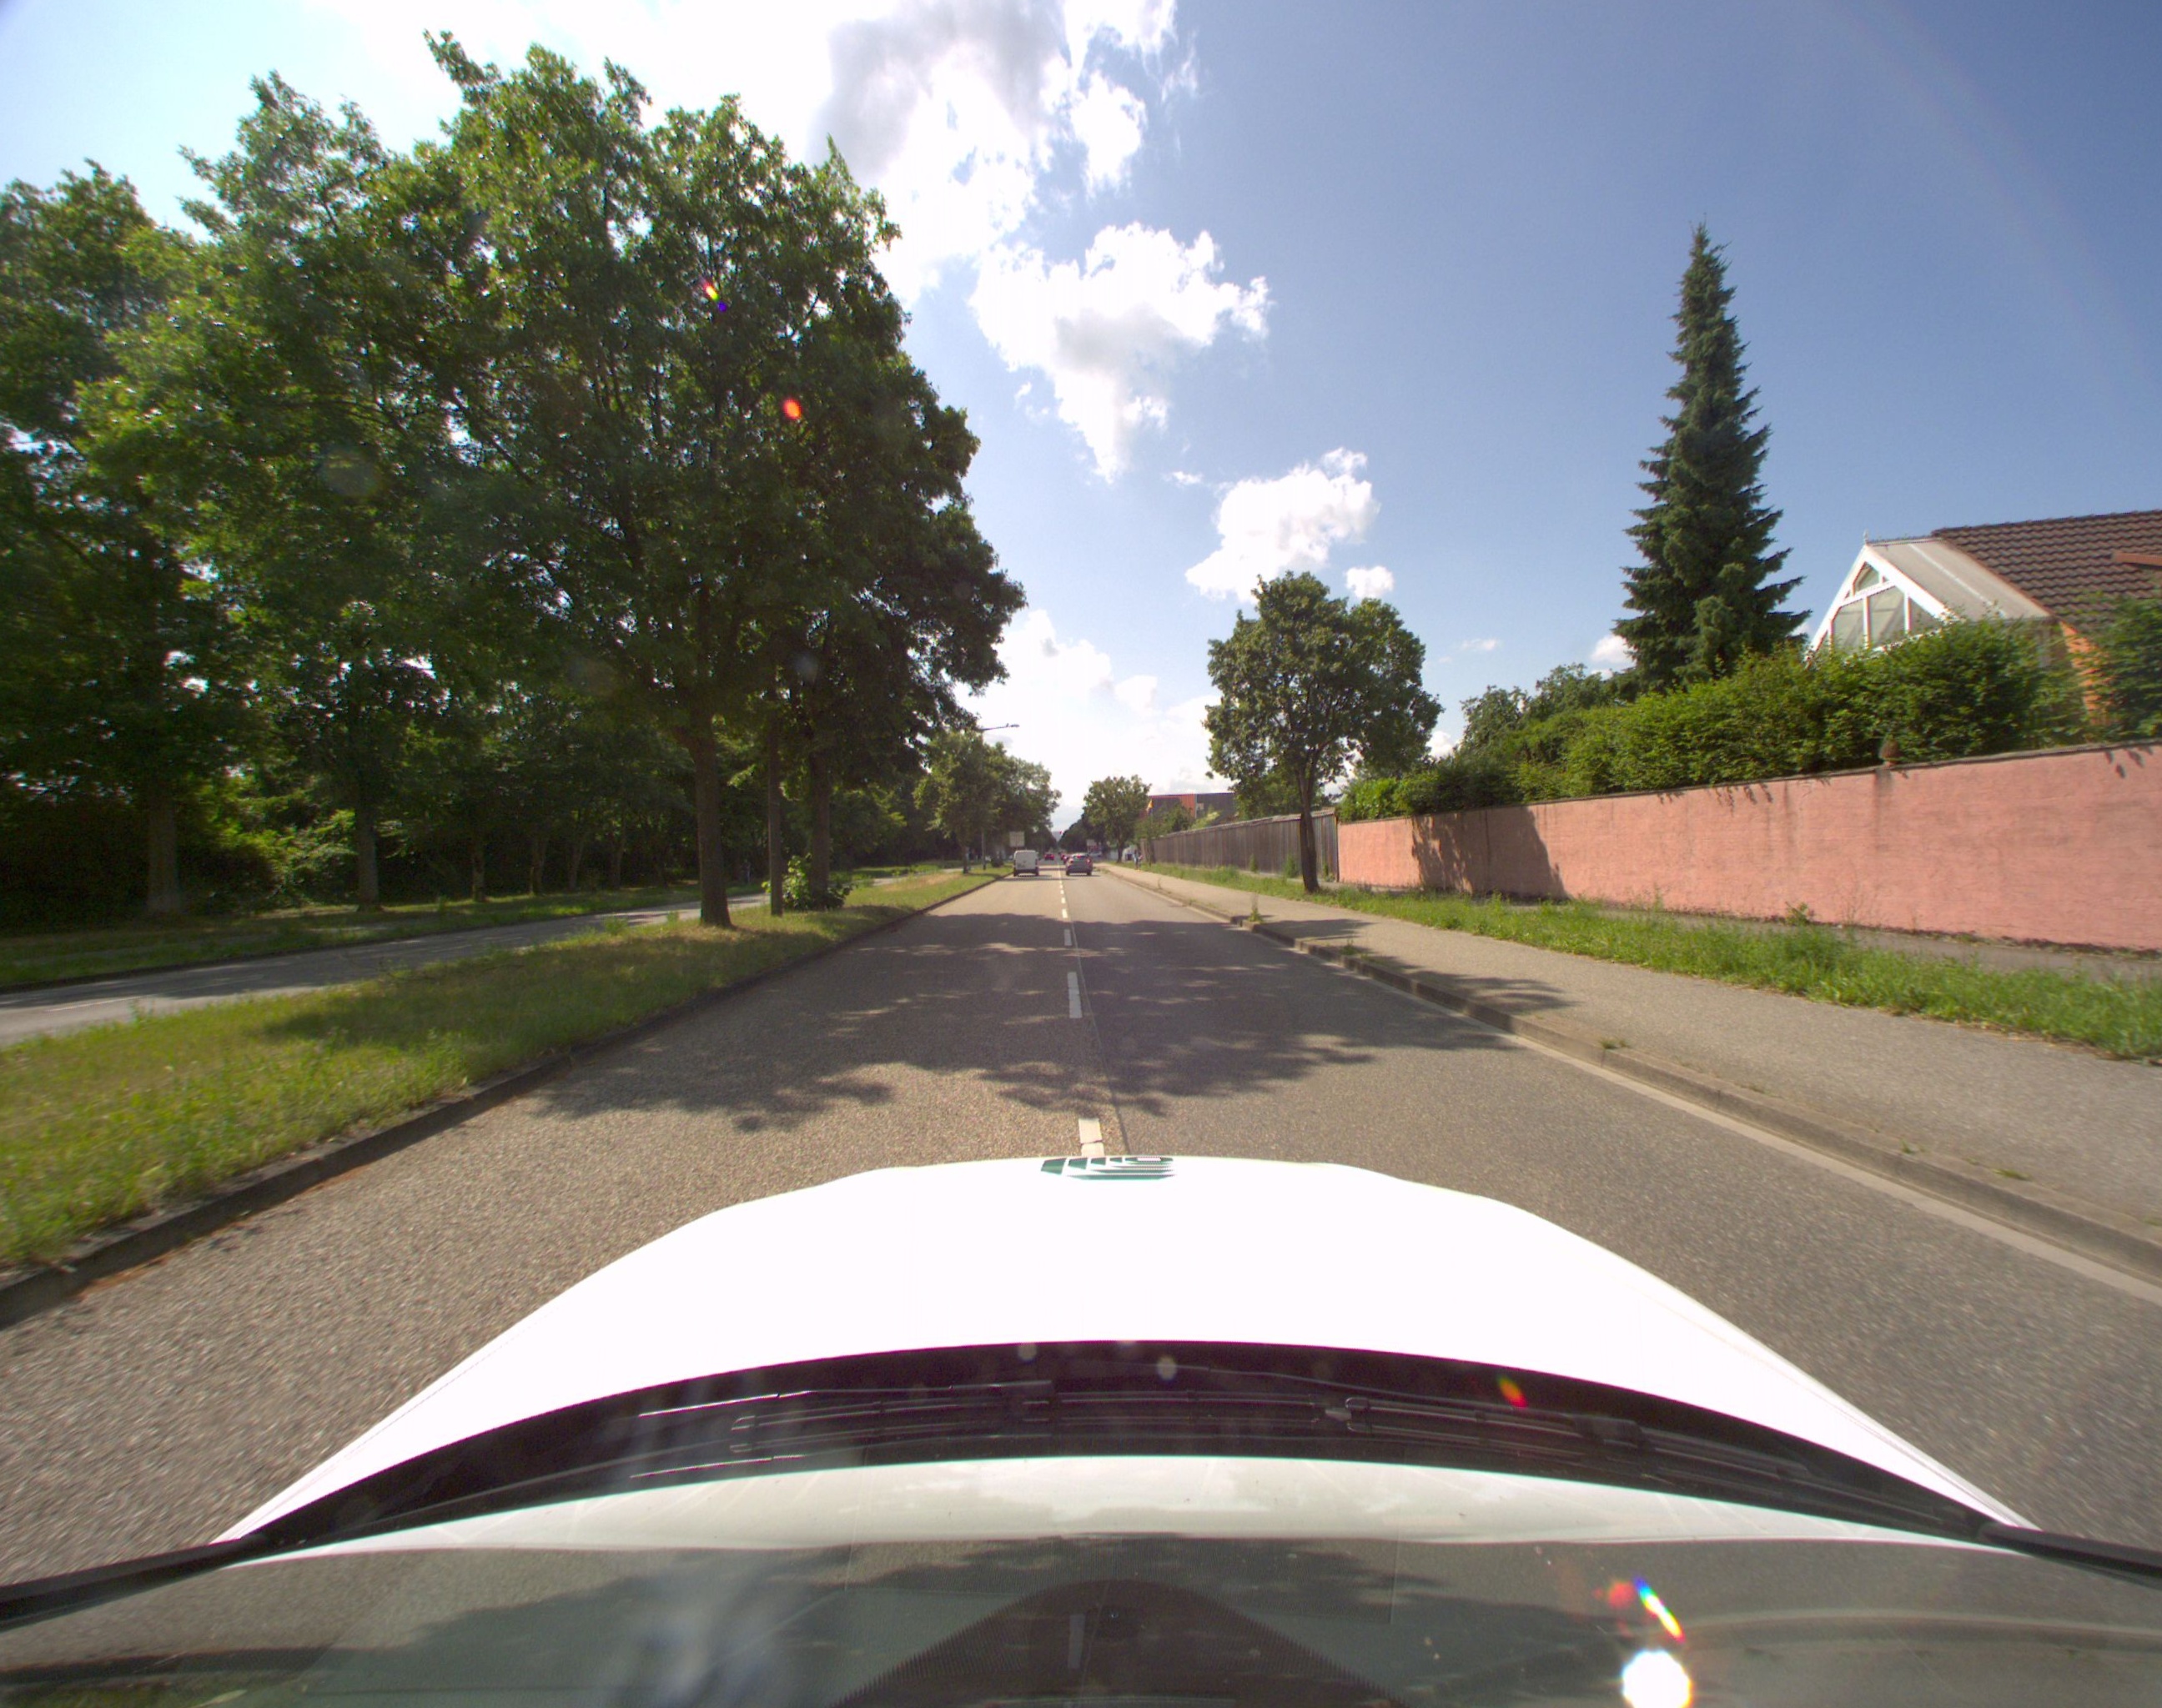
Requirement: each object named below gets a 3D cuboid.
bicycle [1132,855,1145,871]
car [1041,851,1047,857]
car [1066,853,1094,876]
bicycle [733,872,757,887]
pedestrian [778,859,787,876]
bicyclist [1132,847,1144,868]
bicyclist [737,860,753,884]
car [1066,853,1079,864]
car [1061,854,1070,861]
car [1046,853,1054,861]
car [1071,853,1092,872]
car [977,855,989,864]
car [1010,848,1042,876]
[{"bbox_3d":[4.080,0.651,58.050,0.644,1.067,2.277,-4,0,-1],"label":"bicycle"},{"bbox_3d":[-10.984,-0.013,243.152,1.774,1.767,4.148,-1,0,-1],"label":"car"},{"bbox_3d":[-0.110,0.729,58.588,1.870,1.589,4.182,-1,0,-1],"label":"car"},{"bbox_3d":[-20.982,1.602,50.883,0.616,0.878,1.915,-1,0,1],"label":"bicycle"},{"bbox_3d":[-28.101,1.261,76.644,0.642,1.630,0.656,0,0,-1],"label":"pedestrian"},{"bbox_3d":[4.050,0.237,58.141,0.652,1.412,0.986,-4,0,-1],"label":"bicyclist"},{"bbox_3d":[-20.991,1.123,50.881,0.616,1.448,0.729,-1,0,1],"label":"bicyclist"},{"bbox_3d":[-1.228,0.643,117.538,1.875,1.587,3.997,-1,0,-2],"label":"car"},{"bbox_3d":[-3.709,0.795,191.314,1.988,1.772,4.144,0,0,-2],"label":"car"},{"bbox_3d":[-7.211,0.719,189.901,1.936,1.767,4.144,-1,0,-1],"label":"car"},{"bbox_3d":[0.014,0.743,74.978,1.774,1.643,4.194,-1,0,-1],"label":"car"},{"bbox_3d":[-19.797,1.072,165.035,1.988,1.705,4.191,-1,0,-1],"label":"car"},{"bbox_3d":[-3.919,0.536,58.719,2.060,1.912,4.643,-1,0,-2],"label":"car"}]
